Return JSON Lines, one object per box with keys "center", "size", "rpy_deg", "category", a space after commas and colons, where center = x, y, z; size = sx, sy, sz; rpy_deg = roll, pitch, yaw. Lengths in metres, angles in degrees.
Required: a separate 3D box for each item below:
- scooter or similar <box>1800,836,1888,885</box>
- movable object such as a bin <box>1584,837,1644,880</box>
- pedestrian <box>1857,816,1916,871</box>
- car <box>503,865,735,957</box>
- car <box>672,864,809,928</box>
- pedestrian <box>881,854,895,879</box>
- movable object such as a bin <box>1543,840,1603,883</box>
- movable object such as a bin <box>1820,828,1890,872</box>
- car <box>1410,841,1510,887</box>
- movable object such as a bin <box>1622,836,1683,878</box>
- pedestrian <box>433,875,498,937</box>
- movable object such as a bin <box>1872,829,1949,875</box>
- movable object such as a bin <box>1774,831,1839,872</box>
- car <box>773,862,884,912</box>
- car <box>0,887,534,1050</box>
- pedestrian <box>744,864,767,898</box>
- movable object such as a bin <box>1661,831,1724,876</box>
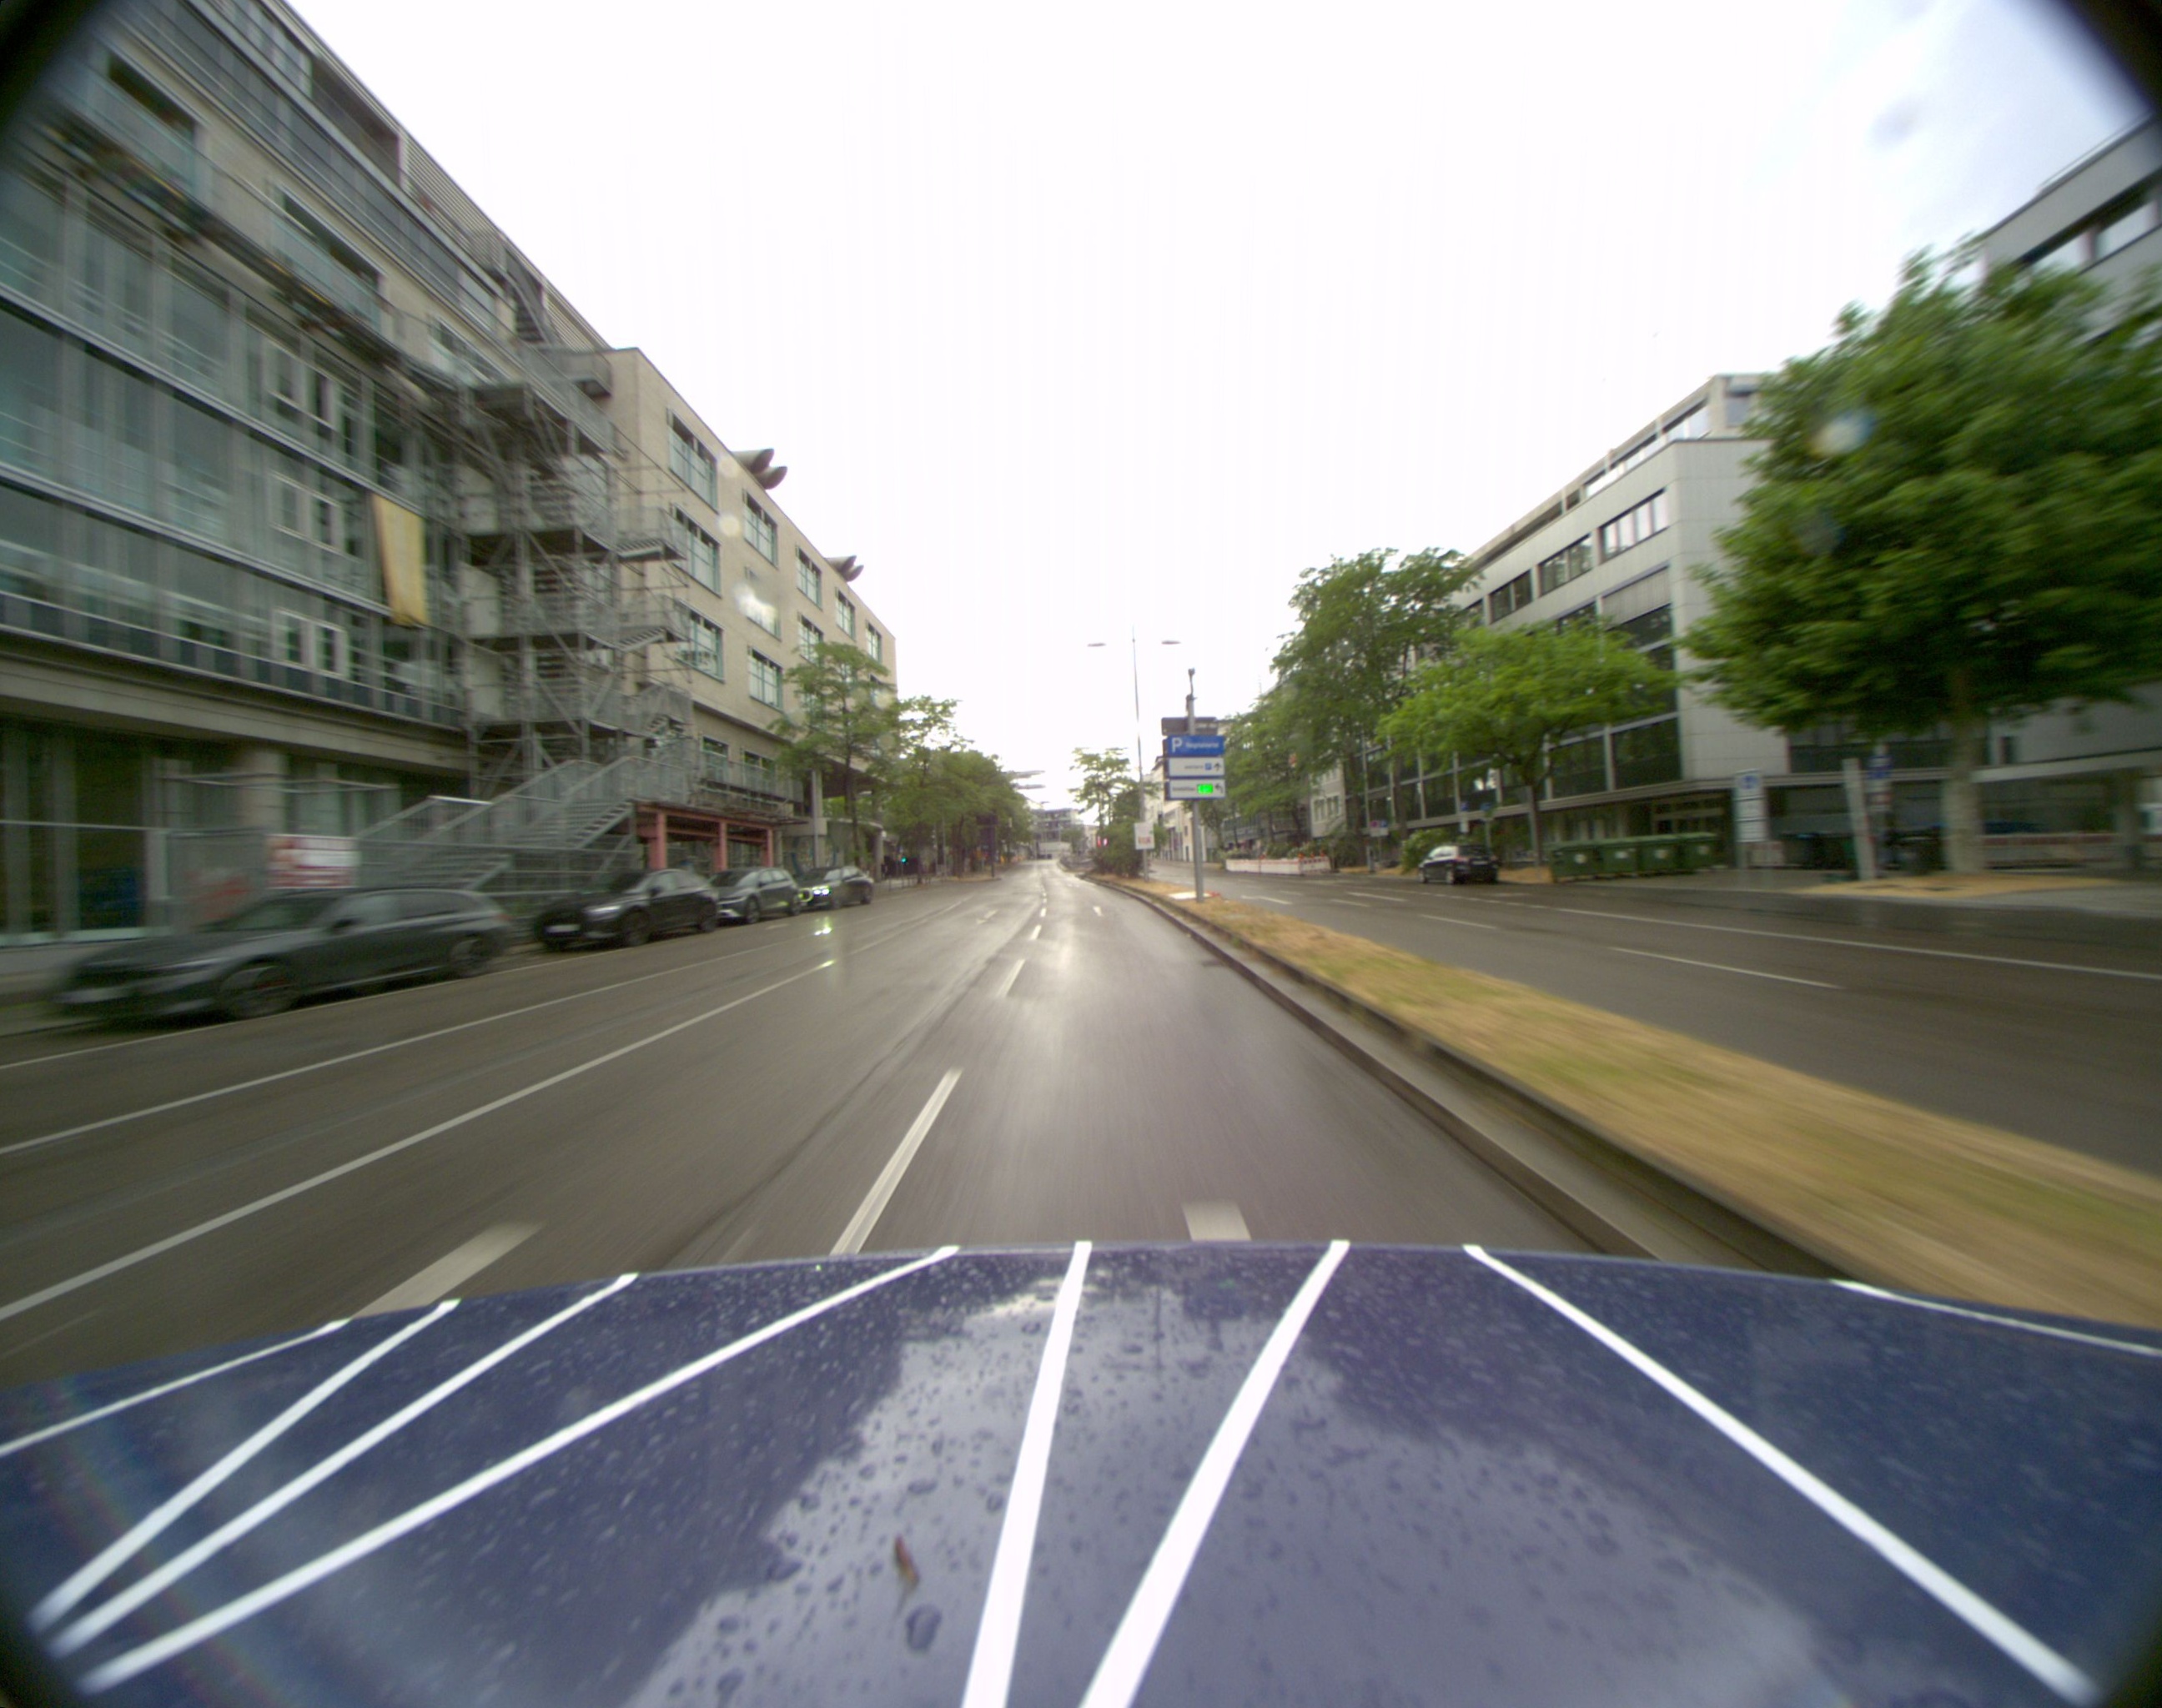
{"center": [19.240, 0.187, 19.196], "size": [0.777, 1.114, 1.324], "rpy_deg": [-5, -3, 2], "category": "scooter or similar"}
{"center": [18.581, 0.151, 26.521], "size": [1.281, 1.418, 1.088], "rpy_deg": [-2, 0, 1], "category": "movable object such as a bin"}
{"center": [25.286, -0.316, 23.873], "size": [0.871, 1.679, 0.896], "rpy_deg": [-2, 0, -3], "category": "pedestrian"}
{"center": [-9.983, 1.134, 17.017], "size": [1.998, 1.636, 4.863], "rpy_deg": [-2, 0, 3], "category": "car"}
{"center": [-9.828, 1.151, 22.391], "size": [1.866, 1.591, 4.593], "rpy_deg": [-2, 0, 1], "category": "car"}
{"center": [-16.314, 1.051, 64.255], "size": [0.871, 2.002, 0.758], "rpy_deg": [-2, 1, -3], "category": "pedestrian"}
{"center": [17.143, 0.263, 26.523], "size": [1.362, 1.418, 1.088], "rpy_deg": [-2, 0, 1], "category": "movable object such as a bin"}
{"center": [26.461, -0.137, 26.002], "size": [1.088, 1.427, 1.281], "rpy_deg": [-2, 0, -9], "category": "movable object such as a bin"}
{"center": [14.865, 0.366, 30.051], "size": [1.783, 1.626, 4.023], "rpy_deg": [-2, 0, -2], "category": "car"}
{"center": [19.935, 0.106, 26.544], "size": [1.281, 1.418, 1.088], "rpy_deg": [-2, 0, 1], "category": "movable object such as a bin"}
{"center": [-16.481, 1.371, 20.382], "size": [0.820, 1.586, 1.113], "rpy_deg": [-2, 0, -4], "category": "pedestrian"}
{"center": [26.864, -0.060, 24.622], "size": [1.088, 1.427, 1.281], "rpy_deg": [-2, 0, -9], "category": "movable object such as a bin"}
{"center": [26.276, -0.081, 27.541], "size": [1.088, 1.427, 1.281], "rpy_deg": [-2, 0, -9], "category": "movable object such as a bin"}
{"center": [-9.222, 1.141, 28.309], "size": [1.998, 1.591, 5.291], "rpy_deg": [-2, 0, 4], "category": "car"}
{"center": [-10.186, 1.287, 10.224], "size": [1.873, 1.429, 4.922], "rpy_deg": [-2, 0, 3], "category": "car"}
{"center": [-15.780, 1.291, 36.851], "size": [0.705, 1.586, 0.923], "rpy_deg": [-2, 0, -1], "category": "pedestrian"}
{"center": [21.329, -0.008, 26.533], "size": [1.281, 1.479, 1.088], "rpy_deg": [-2, 0, 1], "category": "movable object such as a bin"}
